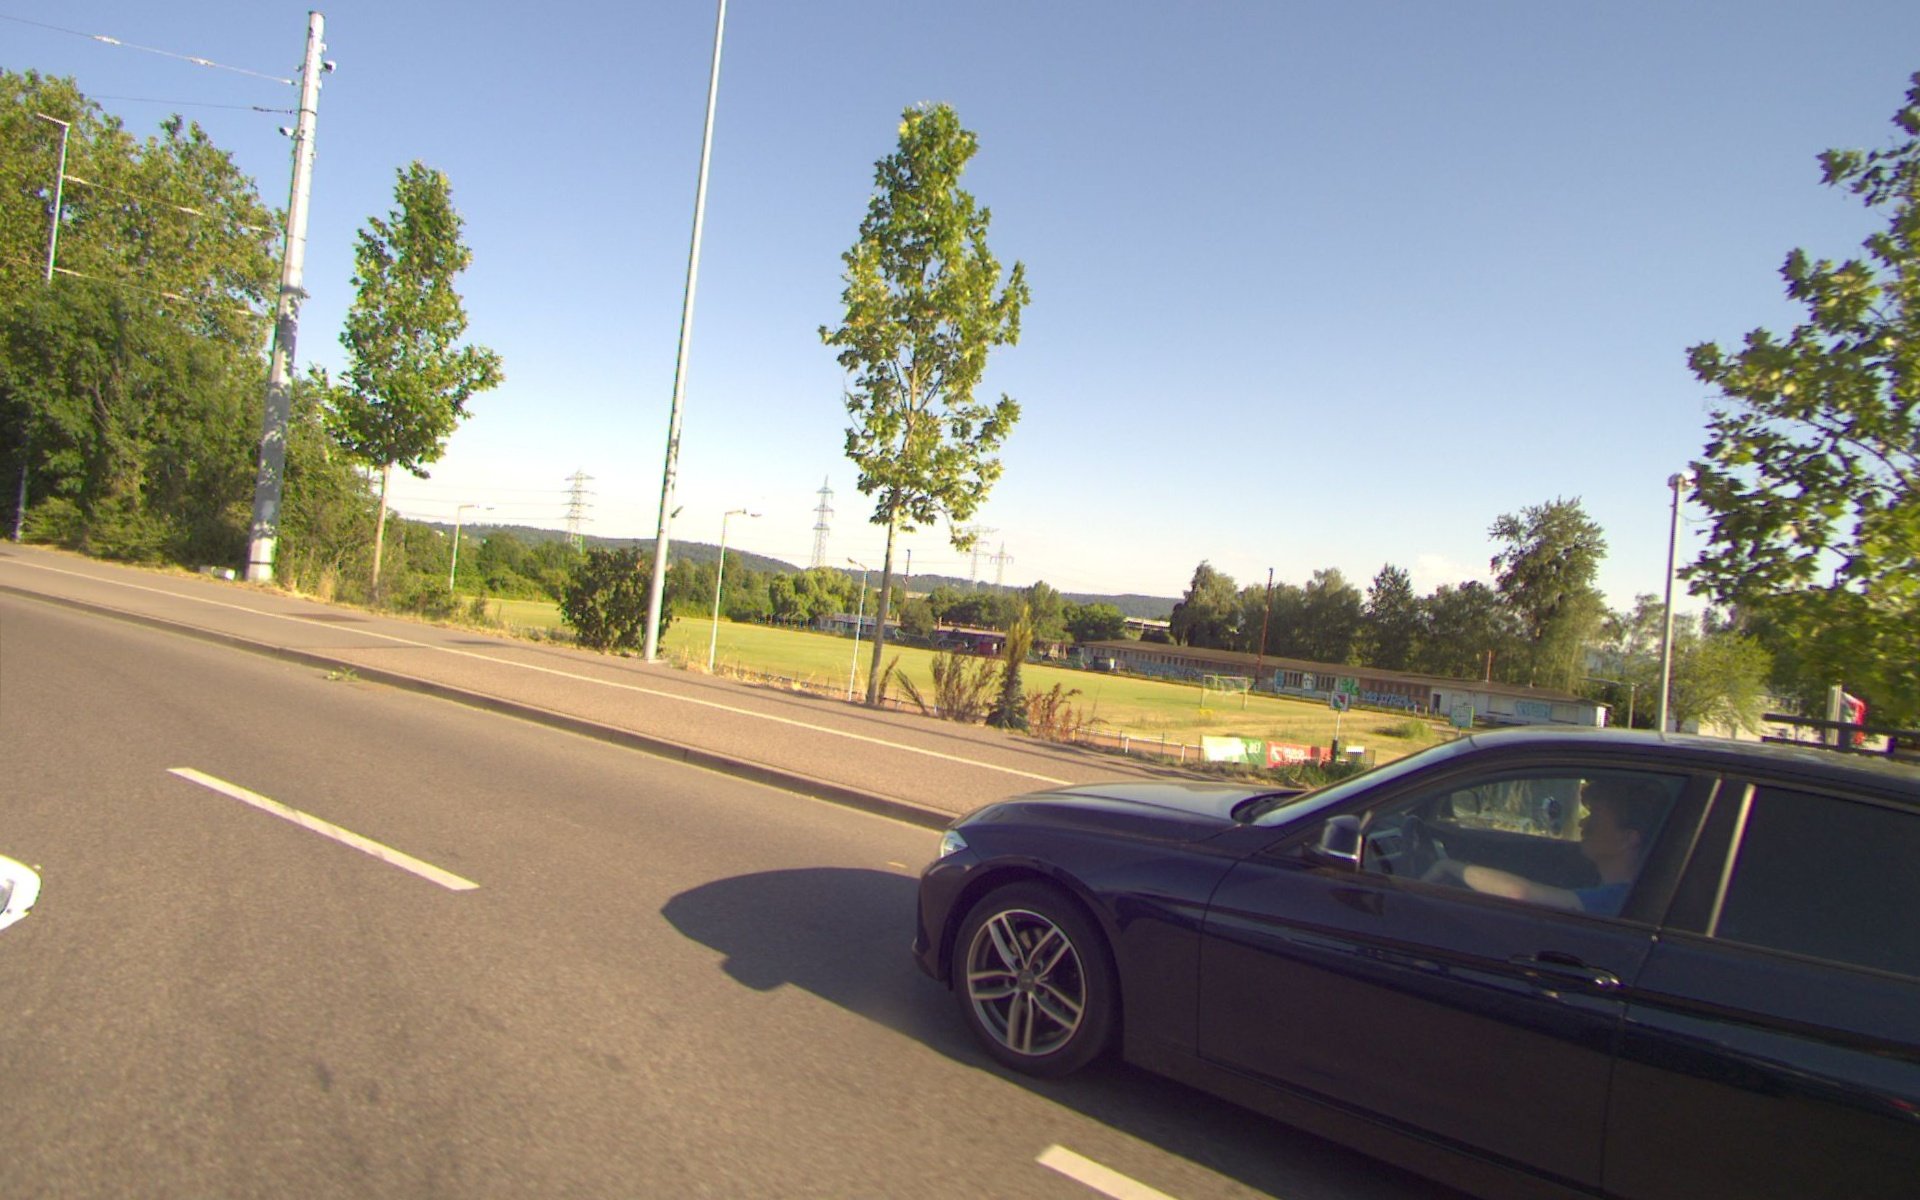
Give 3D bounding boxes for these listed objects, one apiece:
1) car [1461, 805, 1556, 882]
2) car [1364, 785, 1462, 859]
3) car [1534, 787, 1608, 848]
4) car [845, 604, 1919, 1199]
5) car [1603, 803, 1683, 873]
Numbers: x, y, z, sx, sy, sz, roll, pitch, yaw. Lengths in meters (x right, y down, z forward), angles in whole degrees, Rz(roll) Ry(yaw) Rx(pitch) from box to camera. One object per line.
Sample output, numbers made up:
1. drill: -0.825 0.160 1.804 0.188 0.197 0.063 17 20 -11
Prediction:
1. car: 14.913 6.521 27.261 1.557 1.464 3.695 6 -3 38
2. car: 13.047 6.282 28.865 1.557 1.594 3.912 6 -3 38
3. car: 20.709 7.293 34.029 1.557 1.594 3.507 6 -3 39
4. car: 2.004 1.043 3.236 4.515 1.484 1.867 6 -2 36
5. car: 21.913 7.554 32.202 1.758 1.594 3.912 6 -3 38
